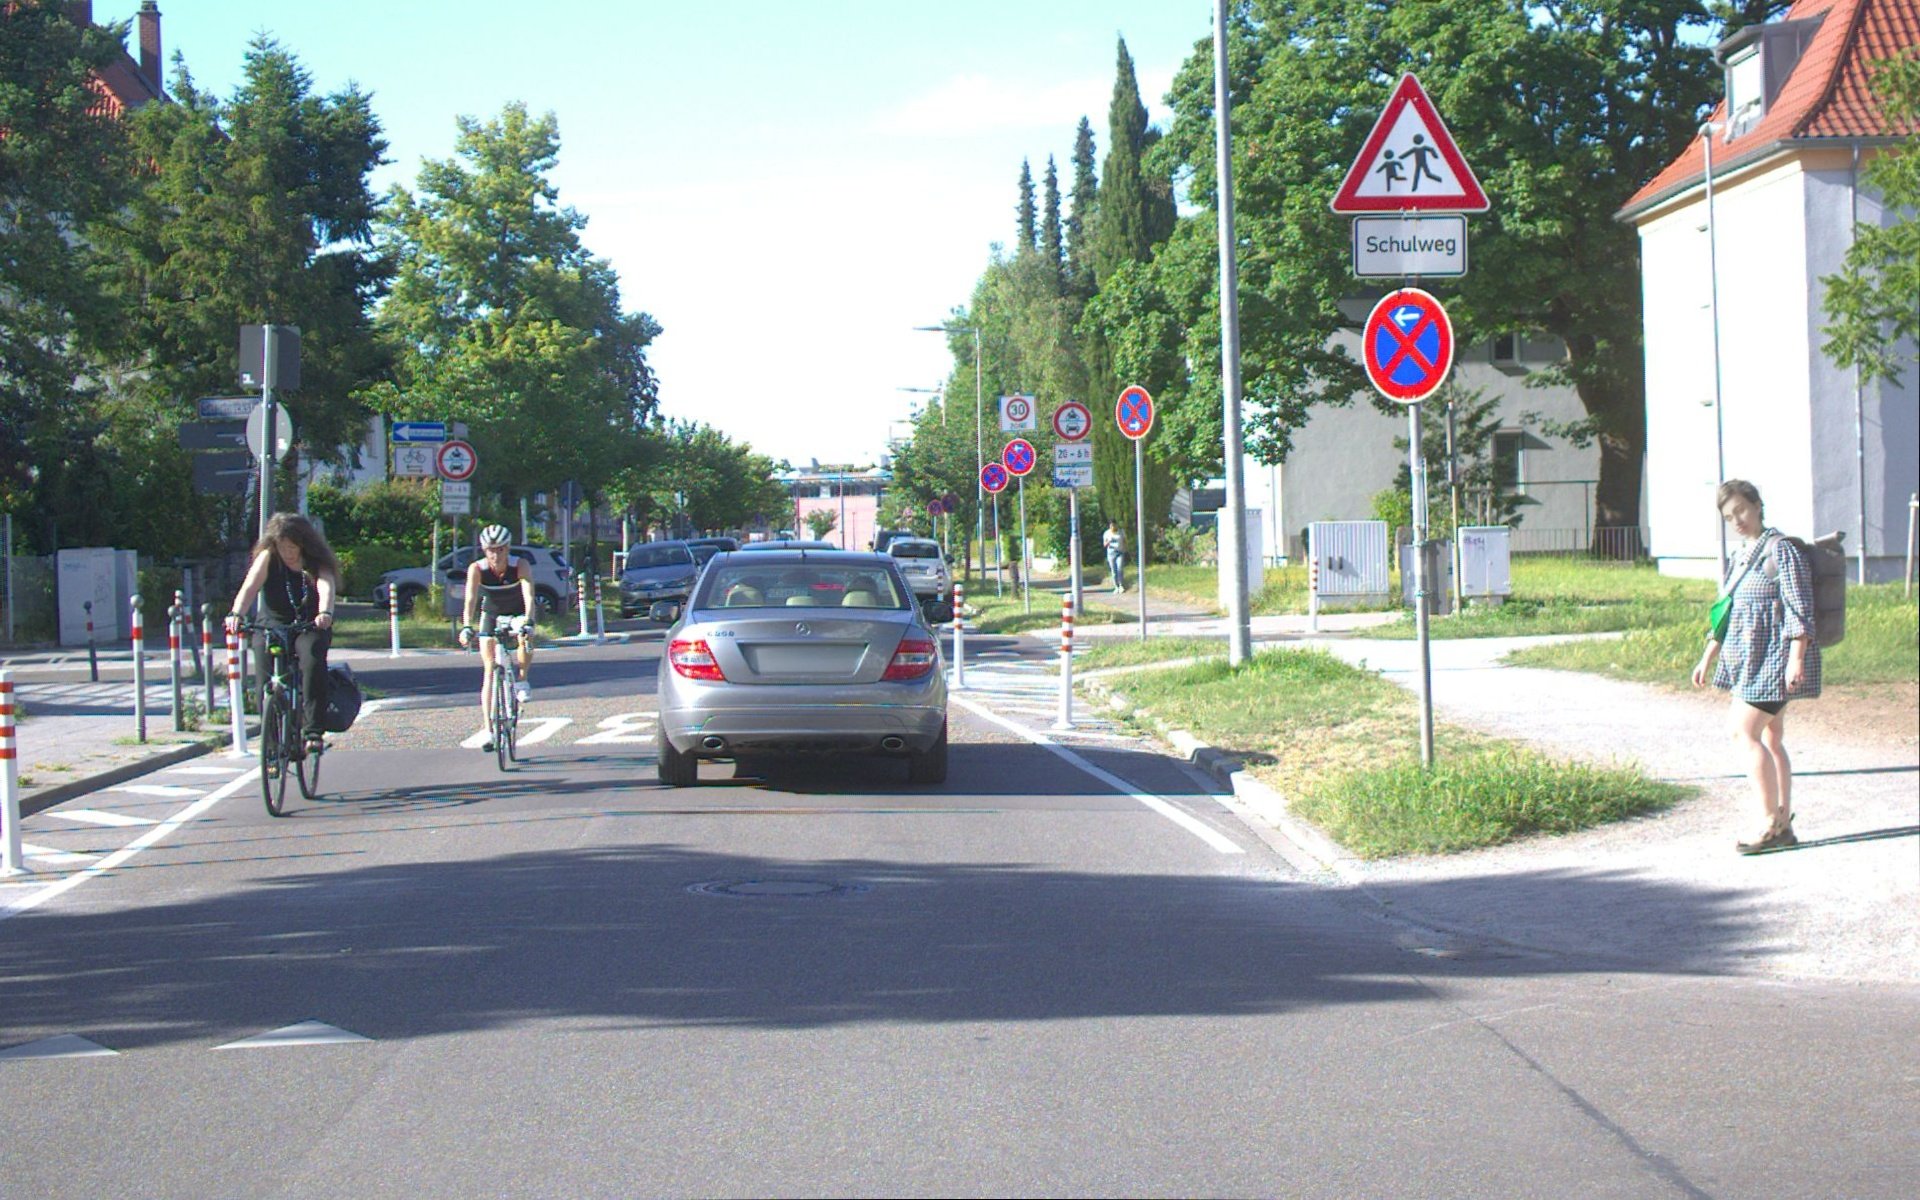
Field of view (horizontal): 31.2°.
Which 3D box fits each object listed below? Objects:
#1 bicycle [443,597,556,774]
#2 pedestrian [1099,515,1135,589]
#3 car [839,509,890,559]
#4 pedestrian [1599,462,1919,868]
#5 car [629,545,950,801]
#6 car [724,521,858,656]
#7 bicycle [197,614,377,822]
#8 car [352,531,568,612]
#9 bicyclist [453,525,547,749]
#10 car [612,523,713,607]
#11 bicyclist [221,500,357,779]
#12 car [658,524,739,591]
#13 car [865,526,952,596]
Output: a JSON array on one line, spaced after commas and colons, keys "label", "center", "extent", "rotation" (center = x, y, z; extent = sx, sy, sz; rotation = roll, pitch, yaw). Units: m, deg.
[{"label": "bicycle", "center": [-3.062, 0.550, 22.952], "extent": [0.505, 1.085, 1.709], "rotation": [-2, 1, 0]}, {"label": "pedestrian", "center": [3.507, -1.077, 76.755], "extent": [0.766, 1.605, 0.834], "rotation": [-2, 1, 3]}, {"label": "car", "center": [-3.717, -2.571, 133.121], "extent": [1.854, 1.834, 4.001], "rotation": [-2, 1, -2]}, {"label": "pedestrian", "center": [3.682, 0.273, 15.562], "extent": [1.086, 1.668, 0.914], "rotation": [-7, 3, -18]}, {"label": "car", "center": [-1.008, 0.392, 21.855], "extent": [1.836, 1.436, 4.000], "rotation": [-1, 1, -1]}, {"label": "car", "center": [-2.203, -0.181, 44.126], "extent": [1.597, 1.604, 3.644], "rotation": [-2, 2, -4]}, {"label": "bicycle", "center": [-3.975, 0.671, 20.444], "extent": [0.642, 1.105, 2.065], "rotation": [-2, 1, 0]}, {"label": "car", "center": [-10.062, -0.594, 69.471], "extent": [4.191, 1.558, 1.842], "rotation": [-1, 1, -4]}, {"label": "bicyclist", "center": [-3.071, 0.236, 22.983], "extent": [0.496, 1.459, 0.687], "rotation": [-2, 1, 0]}, {"label": "car", "center": [-6.441, -0.786, 74.822], "extent": [1.993, 1.604, 4.001], "rotation": [-5, 2, -4]}, {"label": "bicyclist", "center": [-3.987, 0.227, 20.458], "extent": [0.642, 1.614, 0.637], "rotation": [-2, 1, 0]}, {"label": "car", "center": [-7.027, -1.158, 92.622], "extent": [1.993, 1.604, 4.001], "rotation": [-5, 2, -4]}, {"label": "car", "center": [-1.178, -0.902, 77.195], "extent": [1.733, 1.474, 3.726], "rotation": [-2, 1, -4]}]
